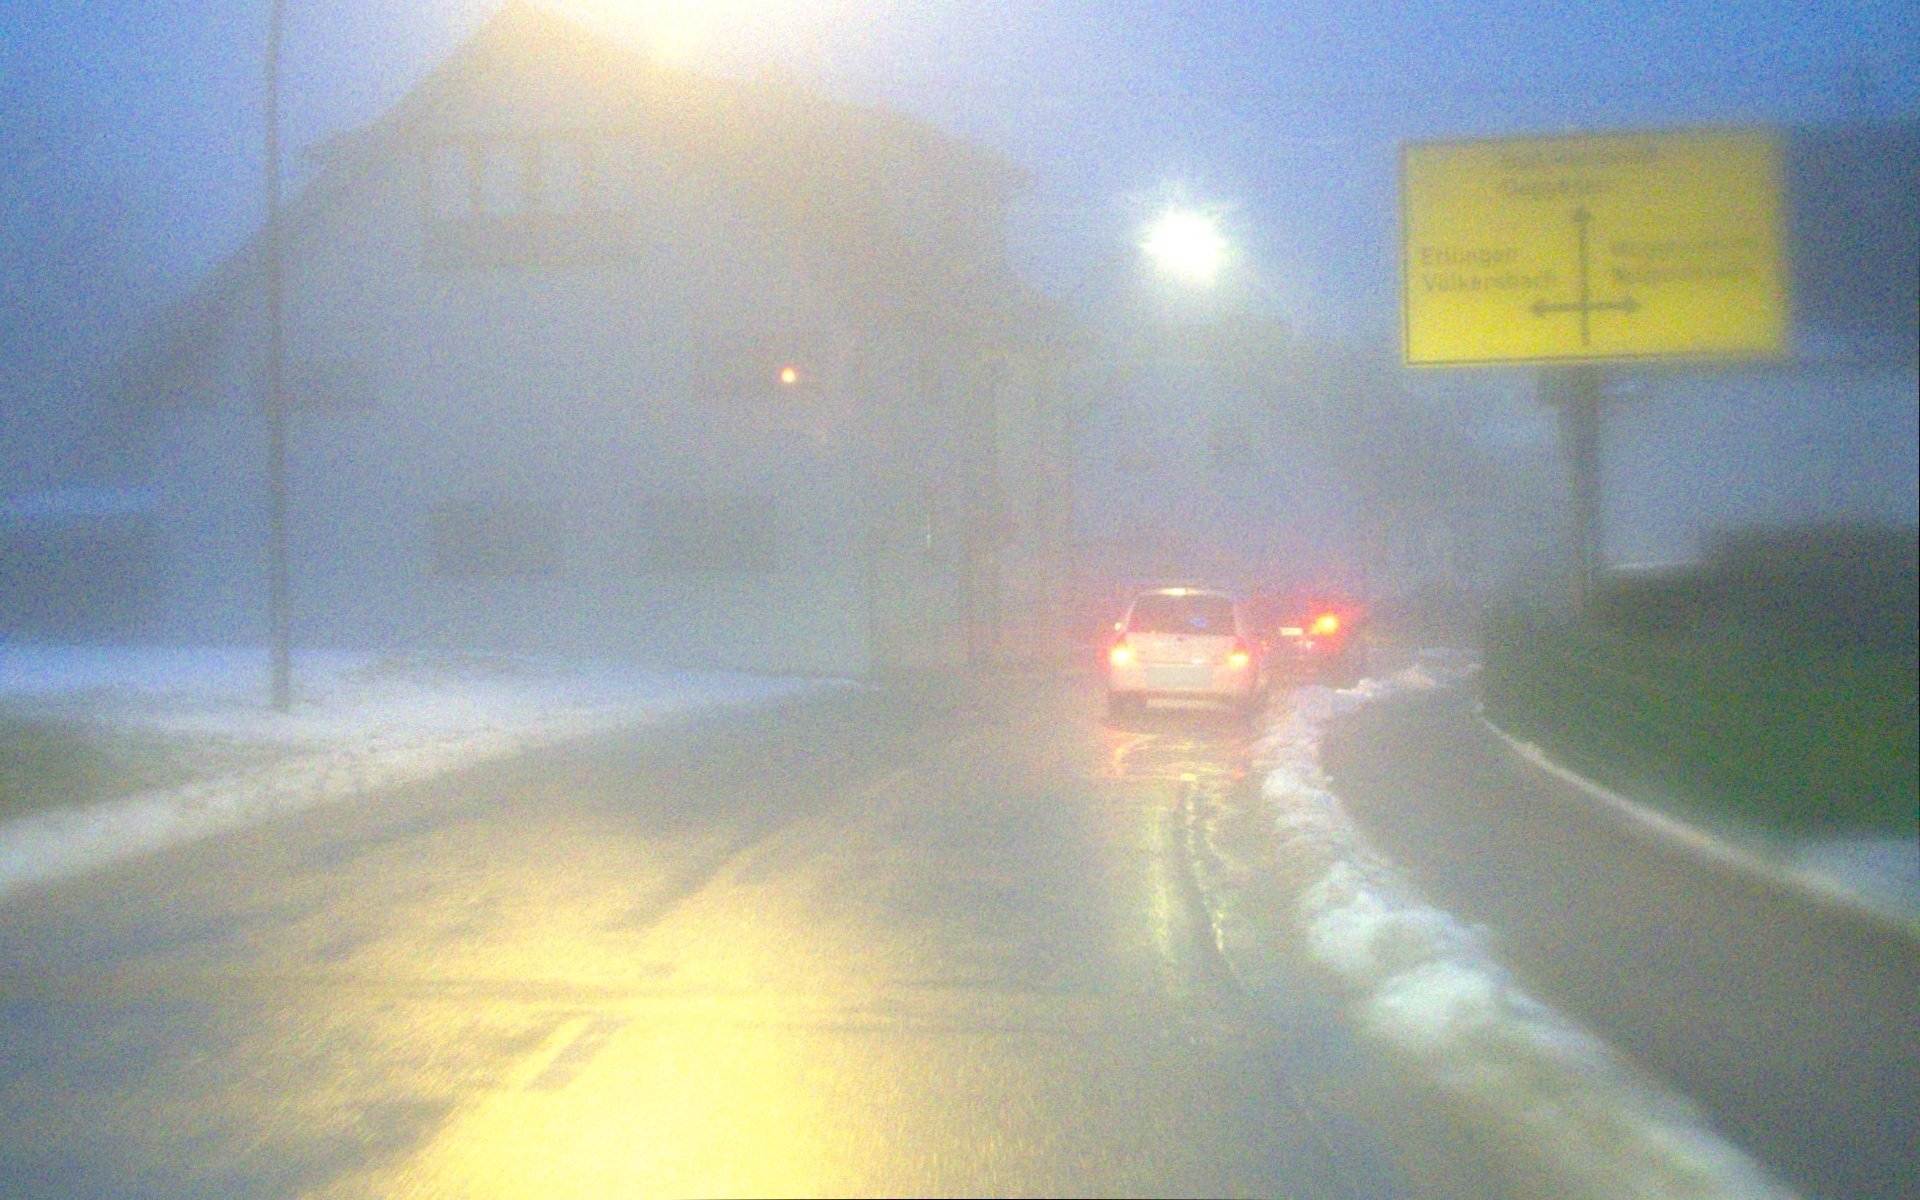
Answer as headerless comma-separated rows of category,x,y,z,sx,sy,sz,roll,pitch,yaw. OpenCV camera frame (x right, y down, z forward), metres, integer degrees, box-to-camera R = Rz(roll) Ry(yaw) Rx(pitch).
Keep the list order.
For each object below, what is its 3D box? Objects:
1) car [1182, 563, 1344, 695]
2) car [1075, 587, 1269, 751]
car,4.897,0.437,55.070,1.994,1.831,3.998,-2,2,13
car,2.392,0.729,38.511,1.994,1.503,4.000,-2,2,4
